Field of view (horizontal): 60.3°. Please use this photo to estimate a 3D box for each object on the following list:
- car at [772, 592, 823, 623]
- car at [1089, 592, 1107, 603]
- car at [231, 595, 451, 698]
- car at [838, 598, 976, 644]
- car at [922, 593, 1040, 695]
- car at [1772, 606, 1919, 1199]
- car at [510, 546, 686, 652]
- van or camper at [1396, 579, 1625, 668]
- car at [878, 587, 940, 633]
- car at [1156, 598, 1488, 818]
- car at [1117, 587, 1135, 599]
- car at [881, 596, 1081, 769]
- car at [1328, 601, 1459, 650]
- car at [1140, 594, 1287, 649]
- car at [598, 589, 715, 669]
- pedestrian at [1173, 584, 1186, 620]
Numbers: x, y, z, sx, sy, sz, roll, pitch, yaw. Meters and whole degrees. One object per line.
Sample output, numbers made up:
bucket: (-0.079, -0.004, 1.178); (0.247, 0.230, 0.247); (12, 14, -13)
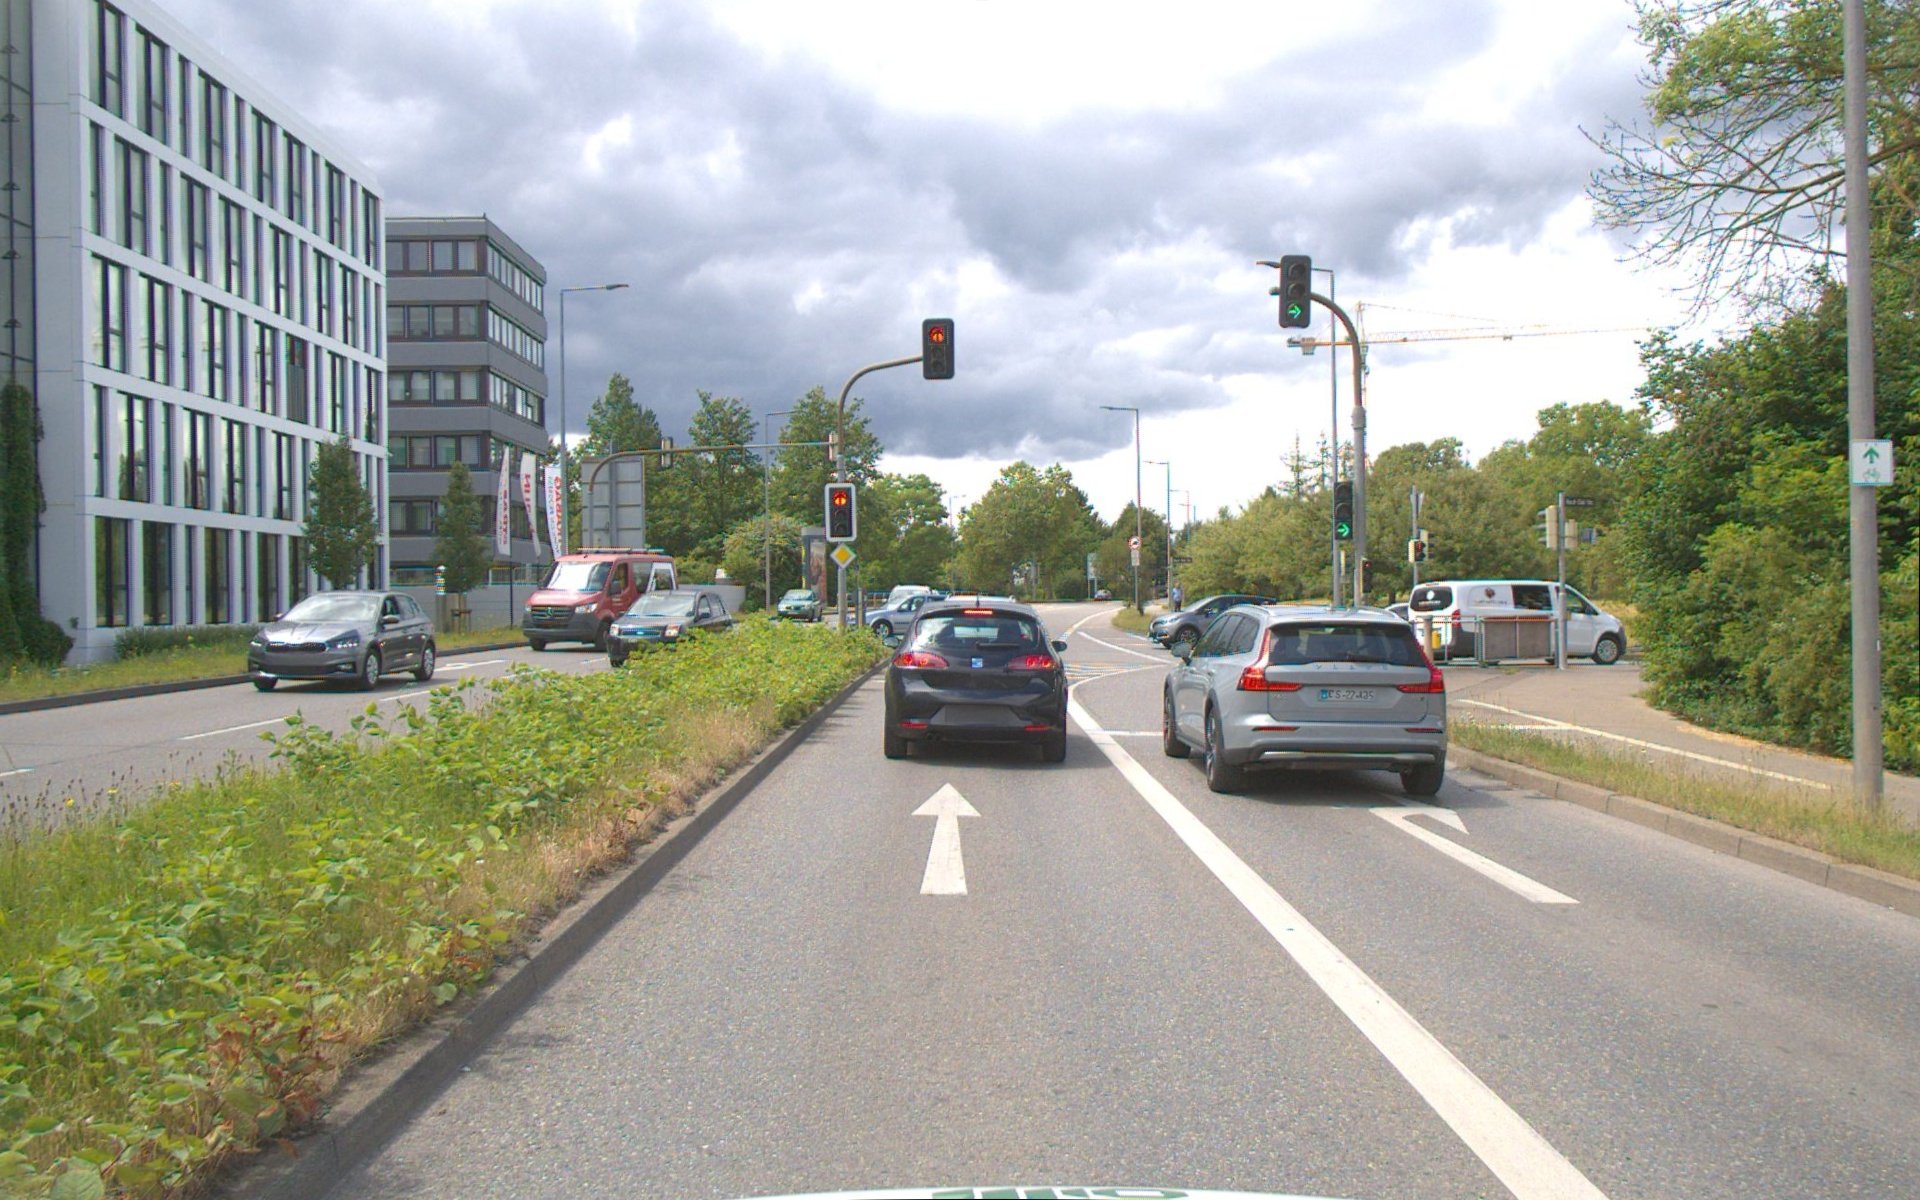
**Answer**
car: (-7.442, 0.325, 75.968); (1.953, 1.375, 4.000); (0, 0, 0)
car: (17.086, -0.314, 204.274); (1.951, 1.375, 4.003); (0, 0, 8)
car: (-9.322, 0.649, 25.257); (1.893, 1.422, 3.999); (0, 0, -1)
car: (-1.678, 0.643, 51.947); (3.933, 1.378, 1.986); (0, 1, -23)
car: (0.285, 0.657, 27.097); (1.737, 1.517, 3.581); (-1, 0, -2)
car: (3.180, 0.758, 1.772); (1.835, 1.466, 5.197); (-1, 0, -3)
car: (-8.844, -0.030, 40.983); (1.951, 2.454, 5.244); (-1, 0, 17)
van or camper: (12.559, 0.498, 37.707); (4.859, 1.892, 1.987); (-1, 0, -22)
car: (-1.818, 0.325, 60.297); (1.952, 1.624, 4.002); (0, 0, 3)
car: (2.912, 0.787, 14.307); (1.825, 1.545, 4.446); (-1, 0, -1)
car: (19.750, -0.880, 196.654); (1.951, 1.375, 4.003); (0, 0, 8)
car: (0.184, 0.721, 16.296); (1.737, 1.477, 3.582); (1, 0, 0)
car: (14.125, 0.807, 54.040); (3.902, 1.557, 2.002); (0, 0, 6)
car: (7.388, 0.605, 48.389); (3.911, 1.543, 1.938); (0, 0, -7)
car: (-6.055, 0.543, 33.389); (1.644, 1.508, 4.000); (0, 0, -1)
pedestrian: (10.886, 0.112, 82.046); (0.547, 1.756, 0.588); (1, 0, 1)
